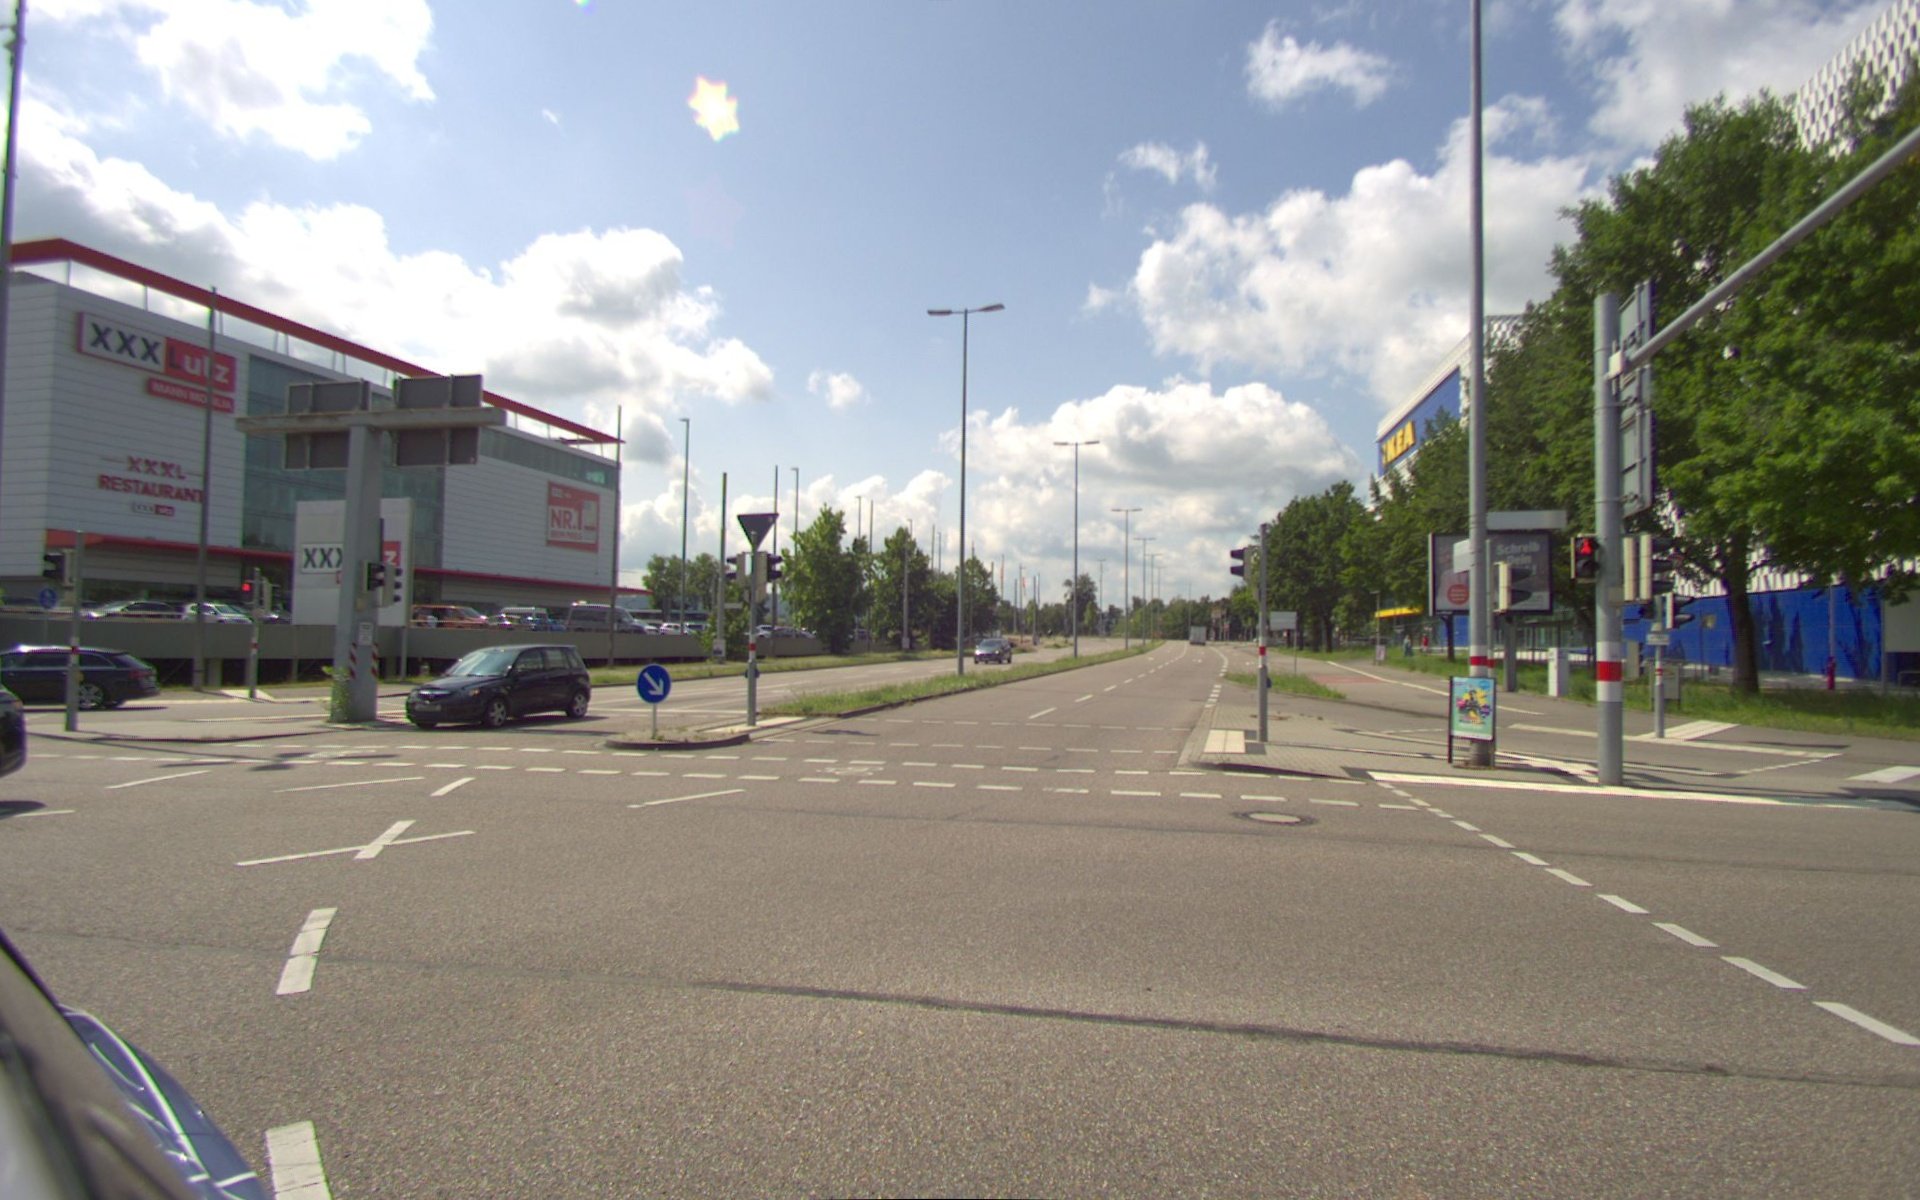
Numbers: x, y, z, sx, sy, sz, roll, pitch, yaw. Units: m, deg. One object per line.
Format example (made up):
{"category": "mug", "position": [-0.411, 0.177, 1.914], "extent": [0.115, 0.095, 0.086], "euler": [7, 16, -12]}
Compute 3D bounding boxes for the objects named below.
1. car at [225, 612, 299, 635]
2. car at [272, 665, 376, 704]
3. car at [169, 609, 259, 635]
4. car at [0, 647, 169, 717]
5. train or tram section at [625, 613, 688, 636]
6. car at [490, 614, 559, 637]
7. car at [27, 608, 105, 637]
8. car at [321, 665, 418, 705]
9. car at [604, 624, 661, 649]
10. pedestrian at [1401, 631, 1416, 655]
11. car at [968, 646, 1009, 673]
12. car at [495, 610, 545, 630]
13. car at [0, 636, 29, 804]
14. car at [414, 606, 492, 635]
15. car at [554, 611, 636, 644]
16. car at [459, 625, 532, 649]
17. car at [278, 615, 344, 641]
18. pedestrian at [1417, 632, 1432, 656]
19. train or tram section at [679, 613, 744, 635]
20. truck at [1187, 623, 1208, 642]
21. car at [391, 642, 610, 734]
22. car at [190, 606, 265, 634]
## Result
{"category": "car", "position": [-47.377, 1.597, 68.698], "extent": [4.378, 1.482, 1.554], "euler": [-1, -2, 13]}
{"category": "car", "position": [-31.907, 4.208, 50.902], "extent": [1.979, 1.763, 4.347], "euler": [-1, -2, 12]}
{"category": "car", "position": [-45.019, 1.330, 61.101], "extent": [4.378, 1.482, 1.947], "euler": [-1, -2, 13]}
{"category": "car", "position": [-21.255, 1.861, 23.201], "extent": [4.597, 1.489, 1.785], "euler": [1, -2, -25]}
{"category": "train or tram section", "position": [-65.314, 5.235, 217.759], "extent": [12.977, 4.595, 3.716], "euler": [-2, -2, 14]}
{"category": "car", "position": [-31.716, 1.846, 73.712], "extent": [4.384, 1.618, 1.944], "euler": [-1, -2, 17]}
{"category": "car", "position": [-59.235, 1.490, 67.065], "extent": [4.378, 1.837, 1.554], "euler": [-1, -2, 13]}
{"category": "car", "position": [-28.977, 4.164, 49.805], "extent": [1.979, 1.763, 3.985], "euler": [-1, -2, 12]}
{"category": "car", "position": [-25.588, 2.859, 79.044], "extent": [3.965, 1.807, 1.740], "euler": [-2, -2, 17]}
{"category": "pedestrian", "position": [33.190, 3.157, 74.852], "extent": [0.847, 1.741, 1.158], "euler": [-2, -2, 18]}
{"category": "car", "position": [1.744, 3.539, 60.290], "extent": [1.592, 1.542, 4.249], "euler": [0, -3, 14]}
{"category": "car", "position": [-40.889, 1.850, 94.067], "extent": [3.962, 1.763, 1.907], "euler": [-2, -2, 15]}
{"category": "car", "position": [-8.865, 0.979, 6.569], "extent": [1.784, 1.489, 5.217], "euler": [0, -2, -13]}
{"category": "car", "position": [-32.693, 1.332, 65.363], "extent": [4.132, 1.763, 1.915], "euler": [-1, -2, 2]}
{"category": "car", "position": [-27.332, 2.087, 75.868], "extent": [5.740, 2.301, 1.742], "euler": [-2, -2, 13]}
{"category": "car", "position": [-32.313, 2.607, 70.437], "extent": [4.382, 1.618, 1.945], "euler": [-1, -2, 15]}
{"category": "car", "position": [-47.281, 2.029, 73.738], "extent": [3.962, 1.763, 1.907], "euler": [-2, -2, 15]}
{"category": "pedestrian", "position": [34.161, 3.220, 74.425], "extent": [0.847, 1.741, 1.158], "euler": [-2, -2, 18]}
{"category": "train or tram section", "position": [-52.724, 5.083, 214.649], "extent": [12.977, 4.404, 3.716], "euler": [1, -1, 14]}
{"category": "truck", "position": [35.745, 4.884, 152.538], "extent": [2.944, 2.773, 5.760], "euler": [-2, -2, 13]}
{"category": "car", "position": [-8.792, 1.624, 19.792], "extent": [1.592, 1.542, 4.249], "euler": [0, -2, 14]}
{"category": "car", "position": [-48.182, 1.333, 66.587], "extent": [3.962, 1.763, 1.907], "euler": [-2, -2, 15]}
